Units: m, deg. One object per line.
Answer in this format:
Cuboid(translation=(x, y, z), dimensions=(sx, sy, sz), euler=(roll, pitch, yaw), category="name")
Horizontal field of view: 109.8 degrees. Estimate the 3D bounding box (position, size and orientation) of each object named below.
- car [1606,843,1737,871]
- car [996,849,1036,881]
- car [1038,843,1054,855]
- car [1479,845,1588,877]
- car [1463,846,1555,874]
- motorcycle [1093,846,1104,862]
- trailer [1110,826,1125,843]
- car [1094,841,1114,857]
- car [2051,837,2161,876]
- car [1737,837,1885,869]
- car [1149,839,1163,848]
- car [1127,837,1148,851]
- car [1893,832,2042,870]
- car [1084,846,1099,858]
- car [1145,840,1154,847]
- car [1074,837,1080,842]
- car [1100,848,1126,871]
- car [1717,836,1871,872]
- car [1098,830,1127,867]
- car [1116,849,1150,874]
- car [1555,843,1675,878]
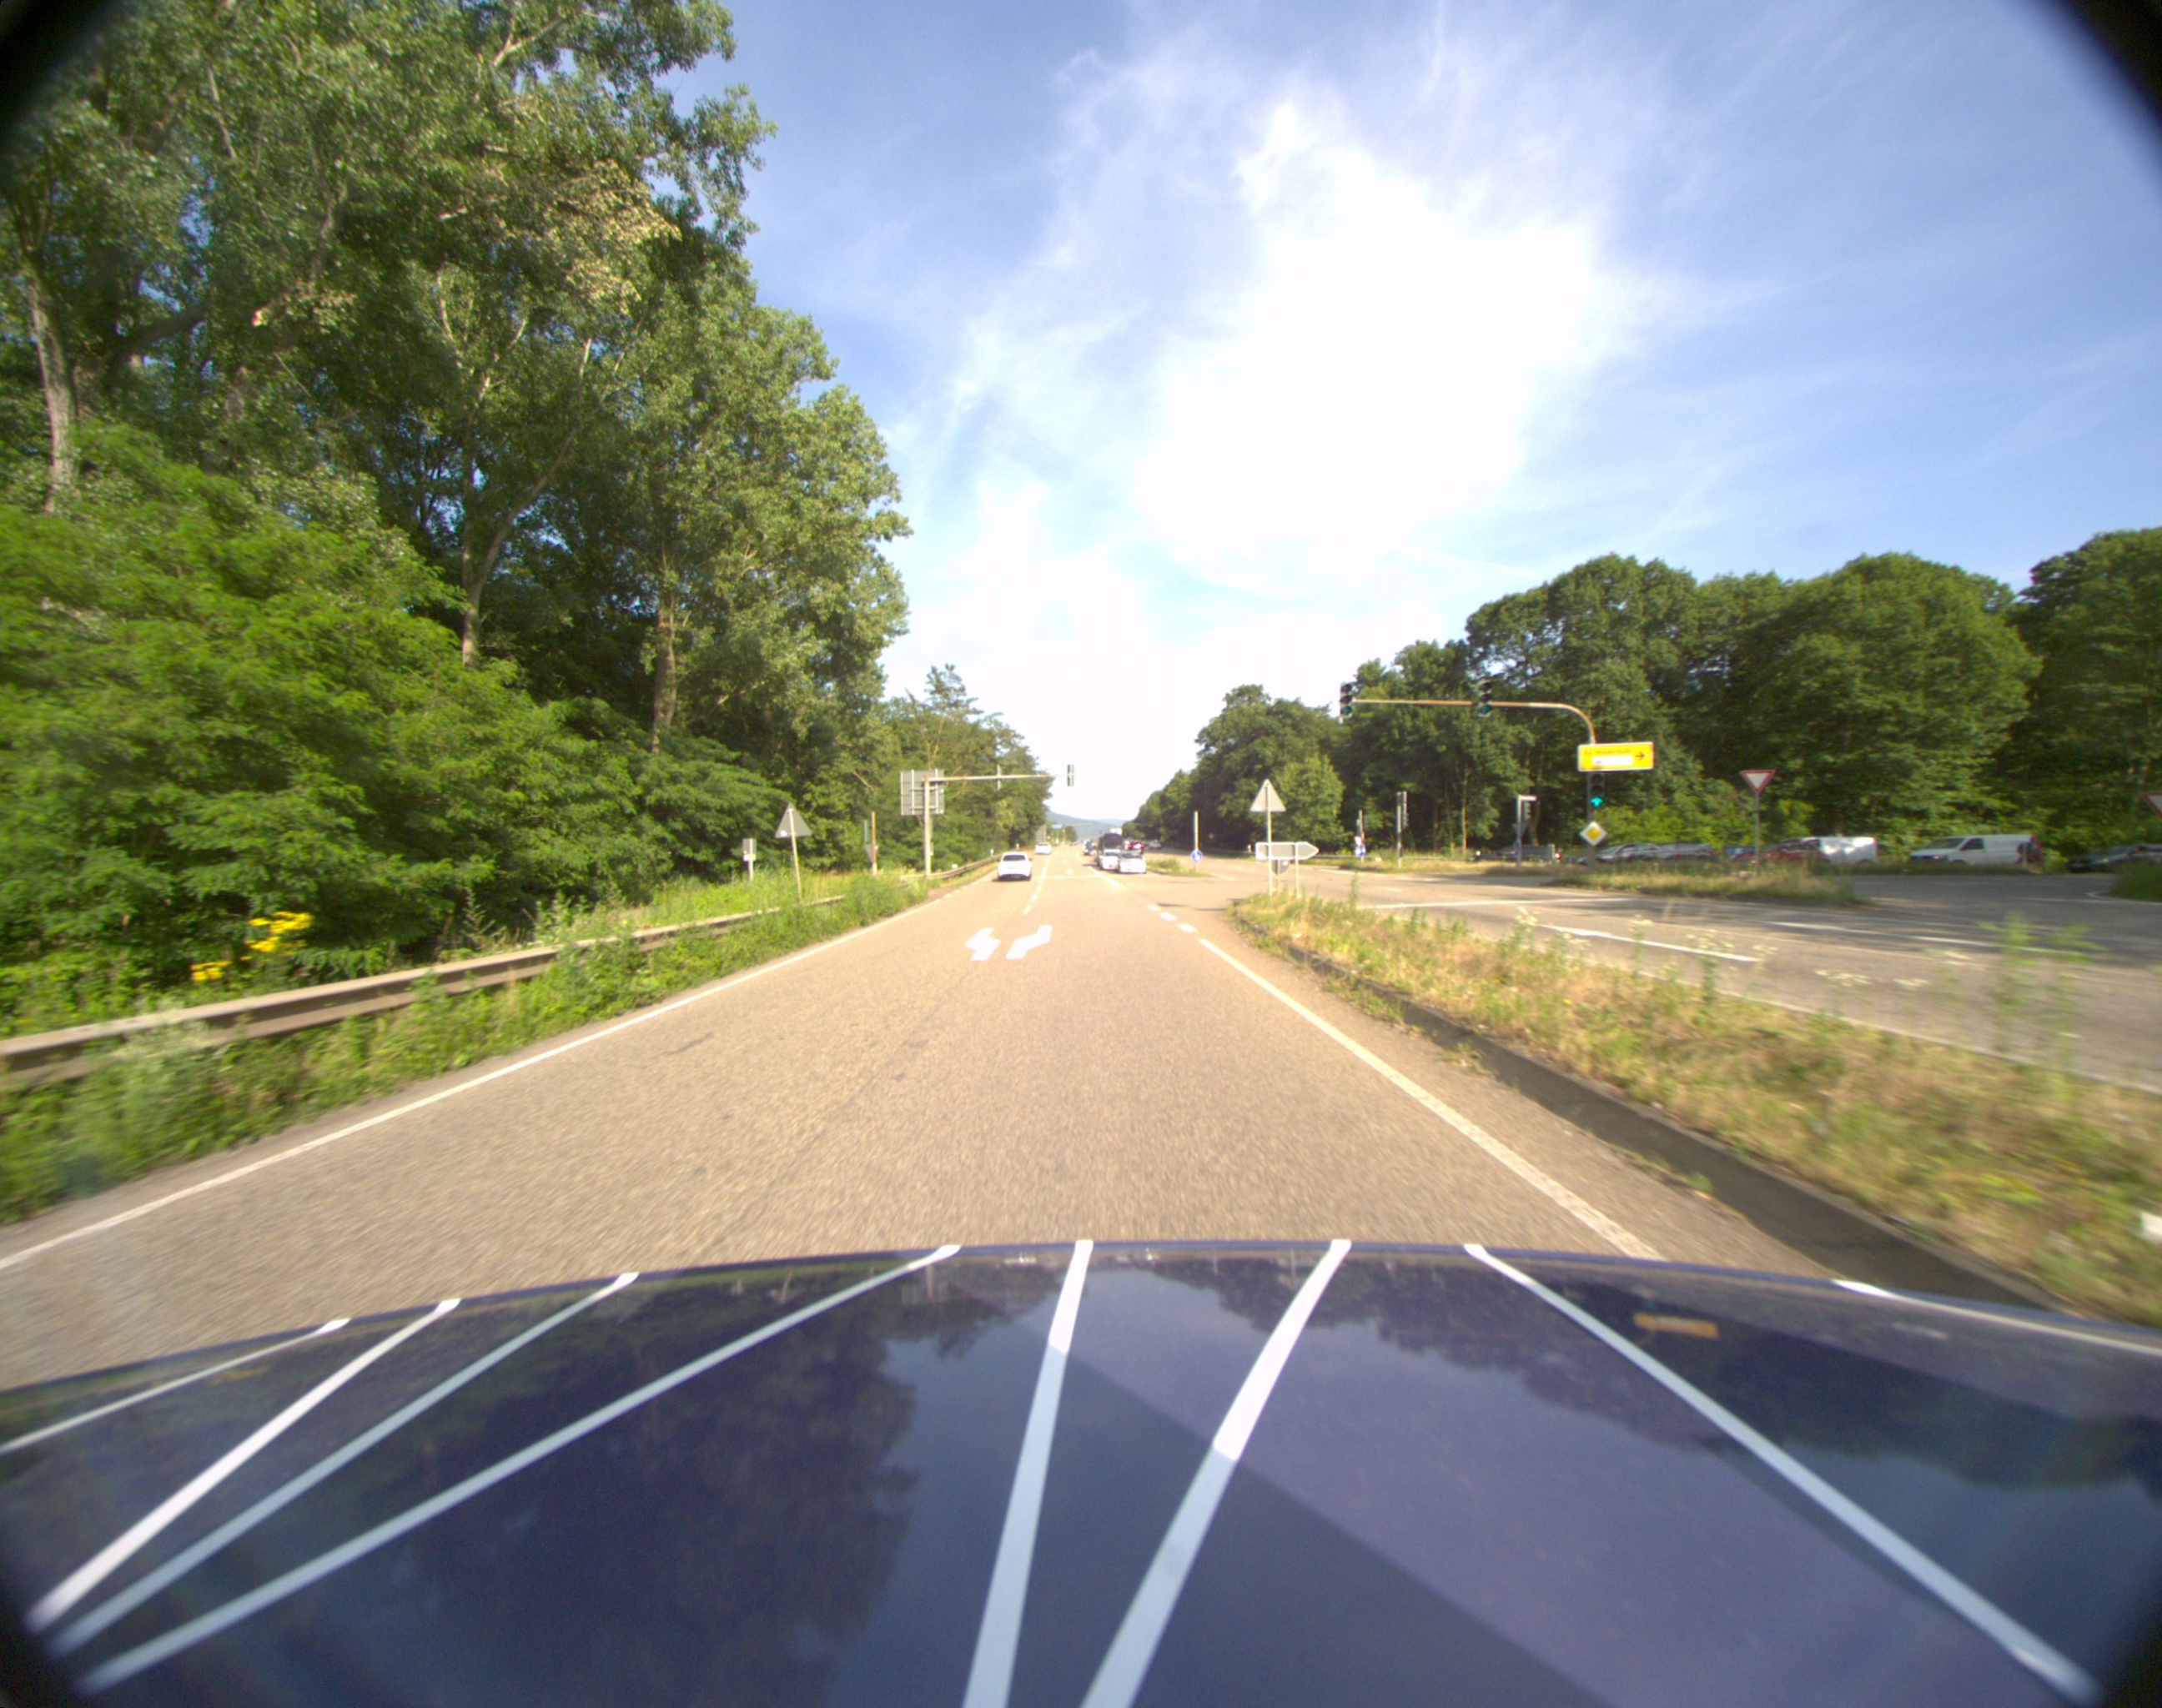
Cuboid(translation=(31.719, 0.171, 41.010), dimensions=(5.194, 1.335, 2.055), euler=(-2, 1, 19), category="car")
Cuboid(translation=(-3.615, 0.549, 42.964), dimensions=(1.875, 1.625, 4.832), euler=(-1, 1, 0), category="car")
Cuboid(translation=(-4.946, -0.752, 107.659), dimensions=(1.999, 1.633, 3.998), euler=(-2, 1, -1), category="car")
Cuboid(translation=(23.548, 0.332, 39.691), dimensions=(4.415, 1.482, 2.001), euler=(-2, 1, 8), category="car")
Cuboid(translation=(24.822, 0.374, 44.167), dimensions=(4.550, 1.482, 2.003), euler=(-1, 2, 30), category="car")
Cuboid(translation=(1.602, -0.026, 69.489), dimensions=(0.911, 1.445, 2.689), euler=(3, 1, 3), category="motorcycle")
Cuboid(translation=(9.211, -4.832, 192.608), dimensions=(2.999, 3.973, 14.010), euler=(-2, 1, 0), category="trailer")
Cuboid(translation=(2.260, -0.509, 75.908), dimensions=(1.875, 1.513, 4.832), euler=(-1, 1, 0), category="car")
Cuboid(translation=(51.750, 0.102, 37.467), dimensions=(4.646, 1.717, 2.135), euler=(-2, 1, 7), category="car")
Cuboid(translation=(37.649, -0.074, 39.352), dimensions=(5.064, 1.482, 2.448), euler=(-2, 1, 7), category="car")
Cuboid(translation=(13.145, -1.851, 133.024), dimensions=(1.888, 1.495, 4.263), euler=(1, 1, -2), category="car")
Cuboid(translation=(7.106, -1.302, 96.221), dimensions=(2.081, 1.753, 4.755), euler=(1, 1, -1), category="car")
Cuboid(translation=(44.551, -0.149, 38.305), dimensions=(4.646, 1.717, 2.192), euler=(-2, 1, 7), category="car")
Cuboid(translation=(1.385, -0.254, 101.314), dimensions=(1.861, 1.453, 4.568), euler=(-2, 1, 1), category="car")
Cuboid(translation=(15.542, -2.427, 172.921), dimensions=(1.720, 1.495, 3.975), euler=(1, 1, 0), category="car")
Cuboid(translation=(-1.032, -3.895, 201.599), dimensions=(1.498, 1.346, 3.553), euler=(-2, 1, -2), category="car")
Cuboid(translation=(2.288, 0.367, 54.663), dimensions=(1.650, 1.481, 4.102), euler=(0, 1, -1), category="car")
Cuboid(translation=(33.466, -0.025, 35.804), dimensions=(4.982, 1.482, 2.208), euler=(-2, 1, 7), category="car")
Cuboid(translation=(2.527, -0.528, 62.769), dimensions=(2.215, 2.872, 7.010), euler=(1, 1, 1), category="car")
Cuboid(translation=(3.290, 0.451, 48.745), dimensions=(1.739, 1.413, 4.800), euler=(0, 1, -1), category="car")
Cuboid(translation=(25.688, 0.270, 36.625), dimensions=(4.419, 1.482, 1.999), euler=(-2, 1, -3), category="car")
